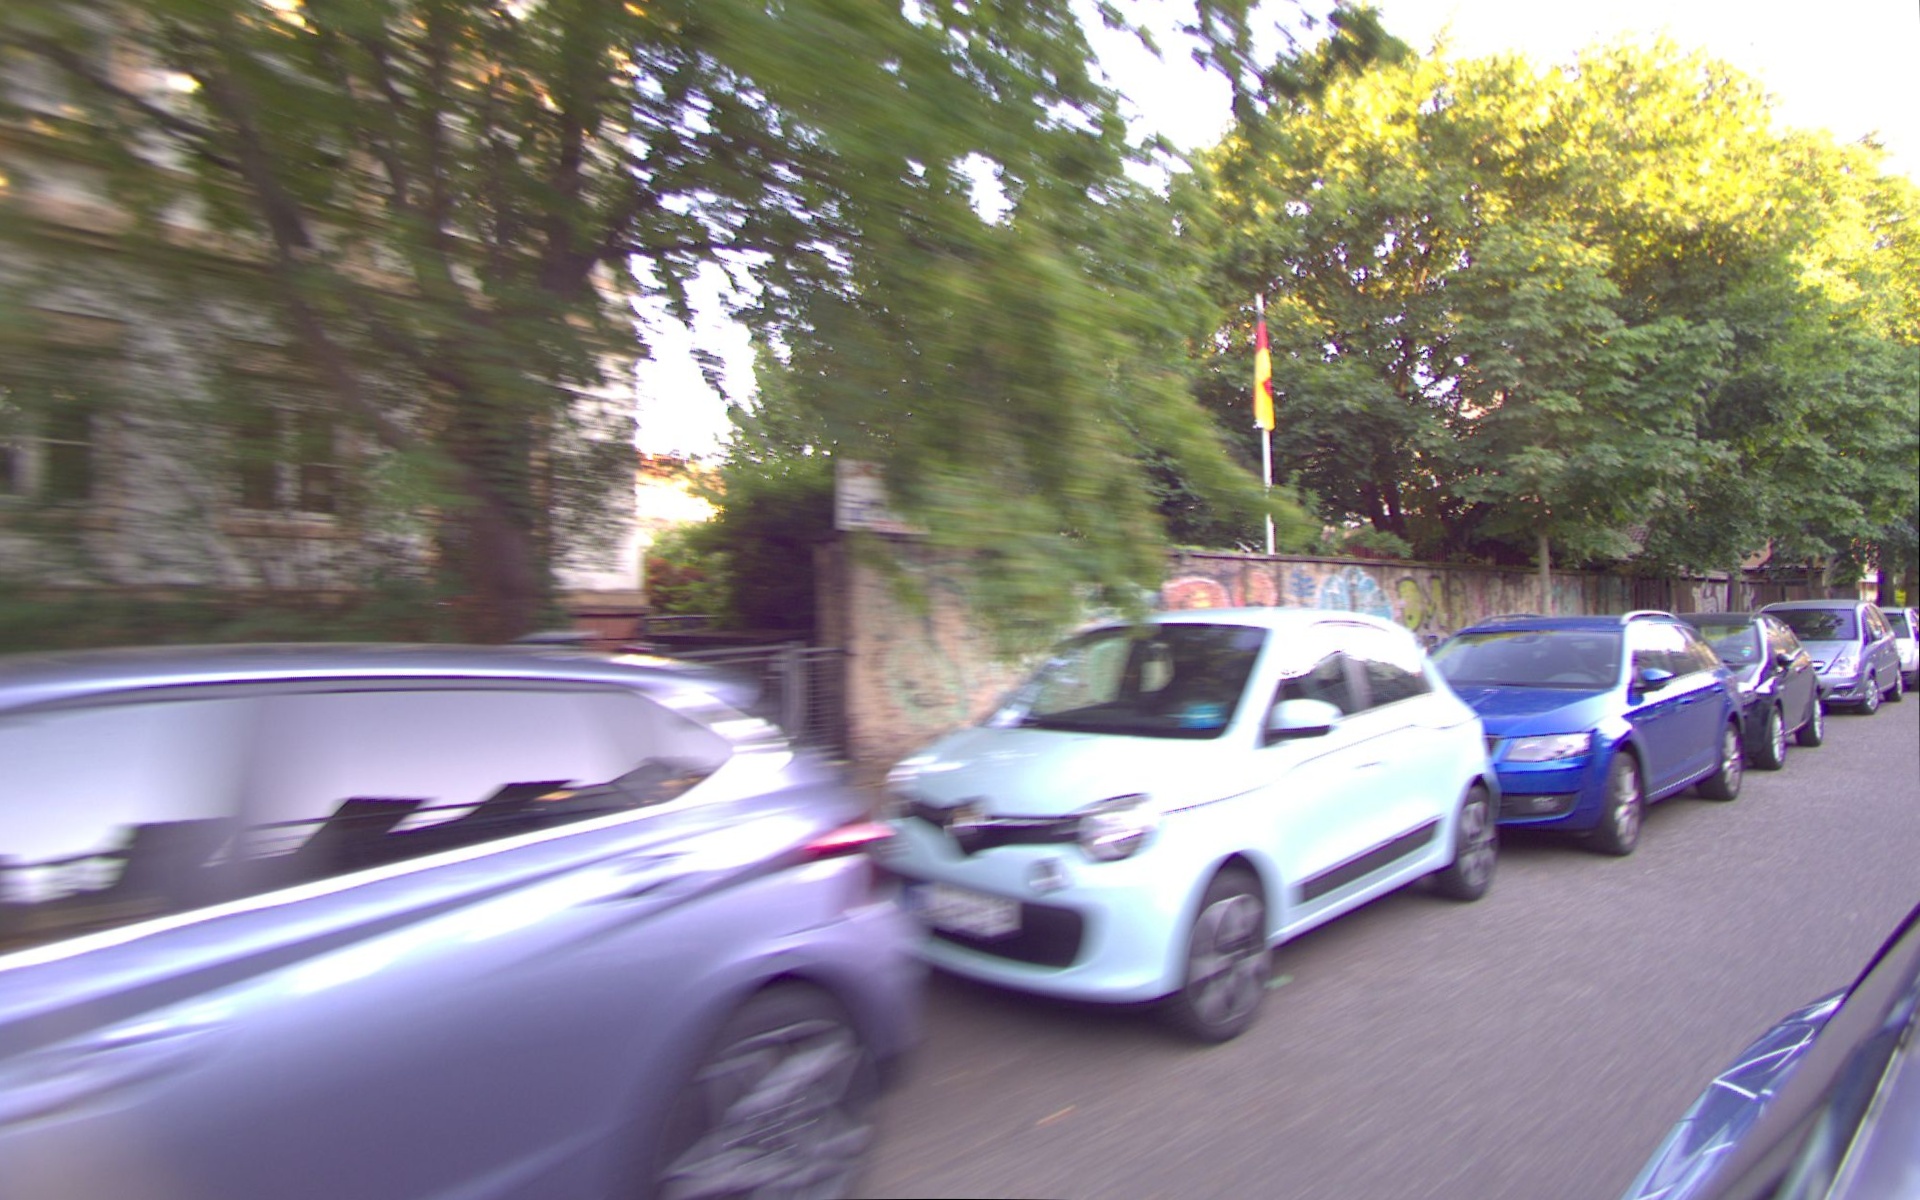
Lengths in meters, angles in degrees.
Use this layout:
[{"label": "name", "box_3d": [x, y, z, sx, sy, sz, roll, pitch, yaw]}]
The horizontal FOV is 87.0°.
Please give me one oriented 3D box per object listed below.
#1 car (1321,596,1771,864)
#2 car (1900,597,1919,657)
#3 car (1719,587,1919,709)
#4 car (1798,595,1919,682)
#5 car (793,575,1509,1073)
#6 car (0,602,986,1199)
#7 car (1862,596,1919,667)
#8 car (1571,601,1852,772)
[{"label": "car", "box_3d": [4.578, 0.734, 7.647, 4.045, 1.496, 1.698, 0, -1, -41]}, {"label": "car", "box_3d": [25.199, 0.674, 25.518, 3.935, 1.461, 1.762, 1, -2, -41]}, {"label": "car", "box_3d": [13.158, 0.652, 15.414, 3.806, 1.624, 1.762, 0, -1, -41]}, {"label": "car", "box_3d": [17.127, 0.681, 18.817, 3.805, 1.460, 1.762, 1, -2, -41]}, {"label": "car", "box_3d": [1.133, 0.682, 4.892, 3.501, 1.496, 1.696, 0, -1, -44]}, {"label": "car", "box_3d": [-1.982, 0.771, 1.920, 1.695, 1.496, 4.144, -2, -1, 45]}, {"label": "car", "box_3d": [21.628, 0.660, 22.526, 4.315, 1.473, 1.762, 0, -1, -41]}, {"label": "car", "box_3d": [8.052, 0.775, 10.733, 3.707, 1.496, 1.599, 0, -1, -41]}]
